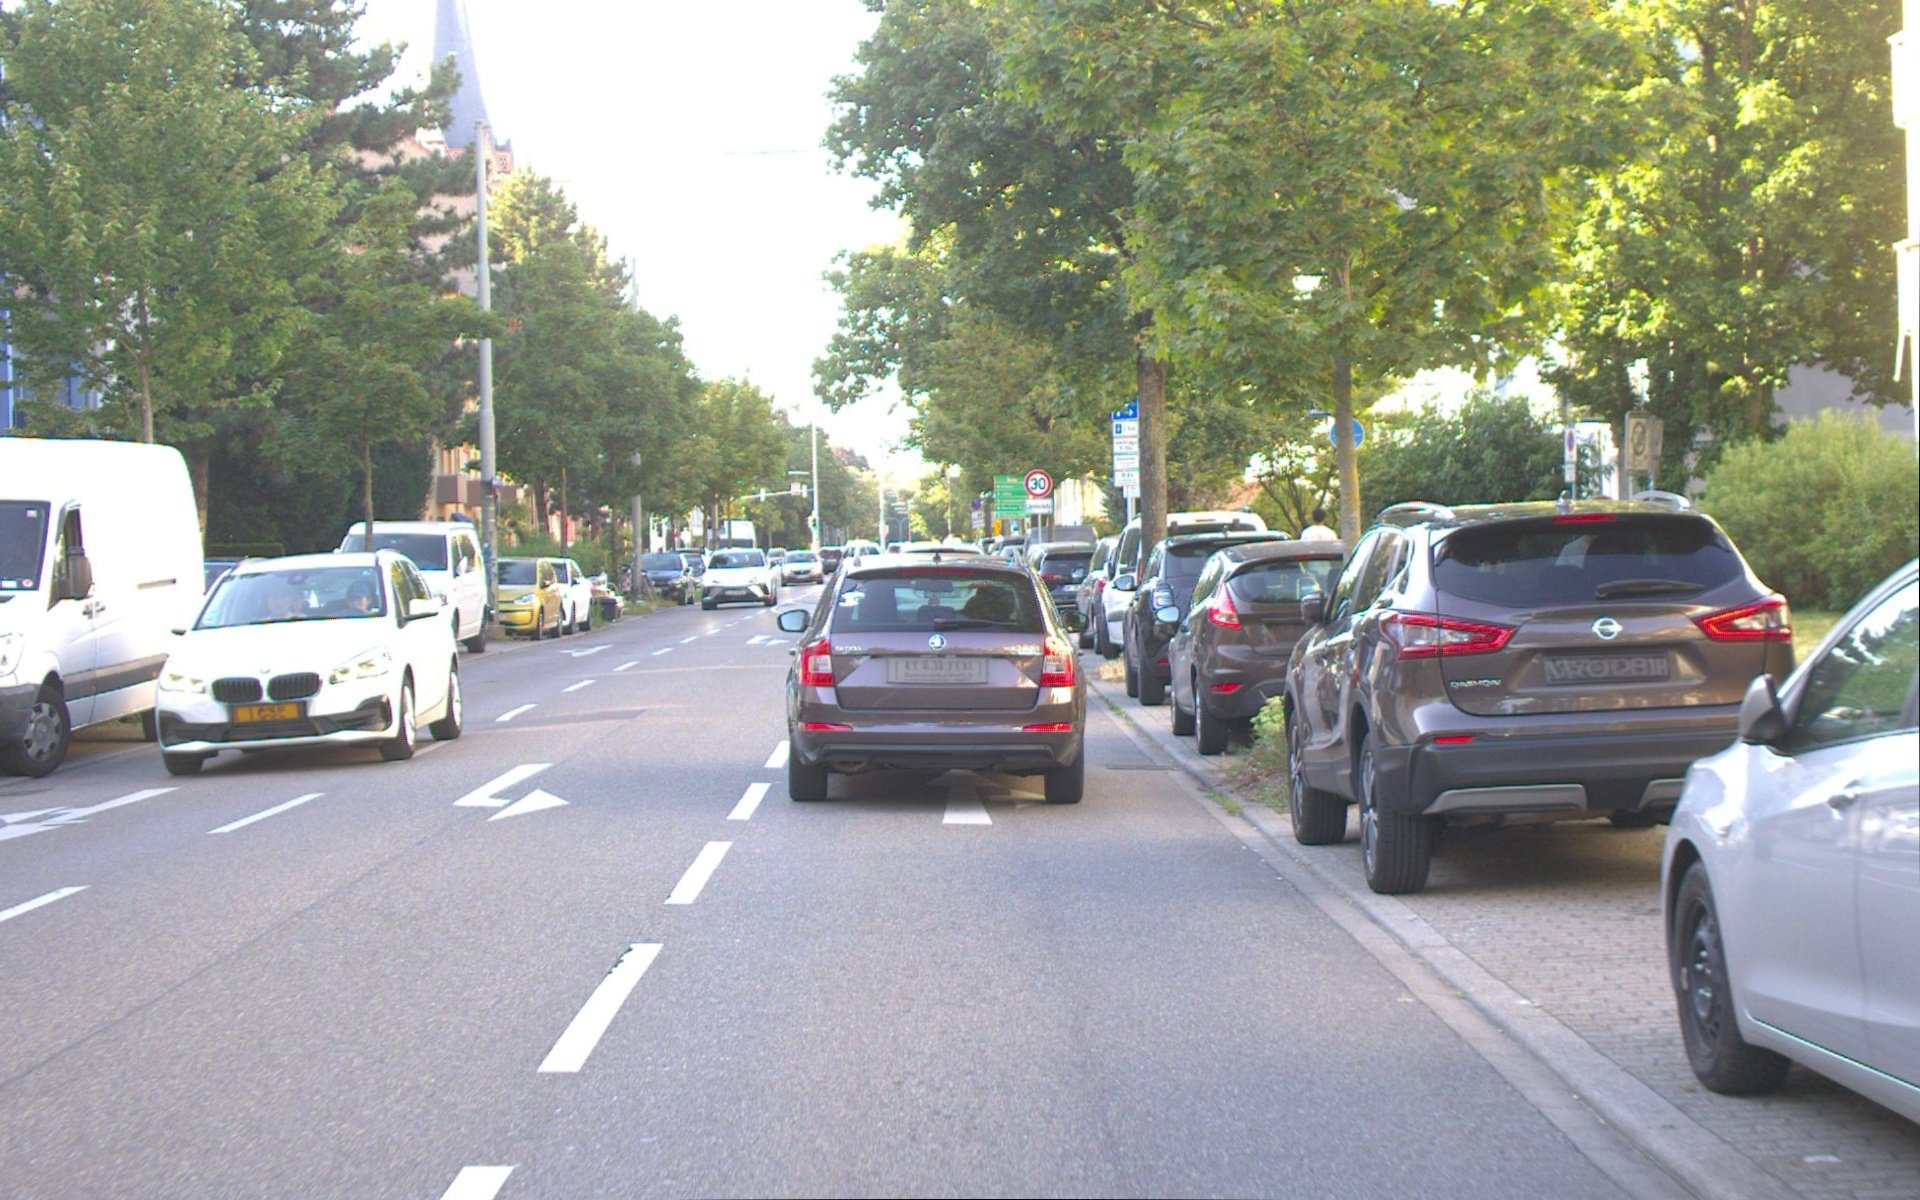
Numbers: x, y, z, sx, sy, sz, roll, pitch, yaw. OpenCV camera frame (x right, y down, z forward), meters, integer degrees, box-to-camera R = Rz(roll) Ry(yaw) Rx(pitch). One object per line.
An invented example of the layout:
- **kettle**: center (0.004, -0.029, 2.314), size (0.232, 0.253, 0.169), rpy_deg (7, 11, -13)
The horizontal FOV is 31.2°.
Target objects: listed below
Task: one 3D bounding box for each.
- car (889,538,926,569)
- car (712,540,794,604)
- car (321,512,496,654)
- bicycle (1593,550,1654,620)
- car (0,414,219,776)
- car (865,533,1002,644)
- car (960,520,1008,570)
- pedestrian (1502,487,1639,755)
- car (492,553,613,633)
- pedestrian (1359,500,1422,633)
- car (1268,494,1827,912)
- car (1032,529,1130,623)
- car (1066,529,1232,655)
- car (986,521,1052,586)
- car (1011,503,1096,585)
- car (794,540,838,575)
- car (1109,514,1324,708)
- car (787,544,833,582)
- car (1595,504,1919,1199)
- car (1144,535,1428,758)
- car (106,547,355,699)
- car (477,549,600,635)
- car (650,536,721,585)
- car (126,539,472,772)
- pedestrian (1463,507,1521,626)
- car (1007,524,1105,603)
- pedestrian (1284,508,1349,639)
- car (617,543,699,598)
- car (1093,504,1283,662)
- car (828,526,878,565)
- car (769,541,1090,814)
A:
- **car**: center (-2.791, -2.458, 181.768), size (1.644, 1.593, 3.651), rpy_deg (-1, 1, -6)
- **car**: center (-5.280, -0.728, 88.068), size (1.781, 1.489, 3.971), rpy_deg (-4, 1, 0)
- **car**: center (-8.185, -0.286, 51.473), size (1.868, 2.024, 5.301), rpy_deg (0, 1, -1)
- **bicycle**: center (9.298, -0.217, 48.219), size (0.475, 0.941, 1.680), rpy_deg (-1, 1, -1)
- **car**: center (-7.808, -0.099, 28.319), size (1.993, 2.607, 7.106), rpy_deg (0, 1, -1)
- **car**: center (-0.408, -0.164, 51.034), size (1.892, 1.501, 3.790), rpy_deg (3, 0, -1)
- **car**: center (0.873, -2.068, 129.238), size (1.754, 1.799, 4.000), rpy_deg (1, 1, 0)
- **pedestrian**: center (3.936, 0.129, 22.209), size (0.788, 1.694, 0.807), rpy_deg (0, 0, 4)
- **car**: center (-7.953, -0.160, 67.406), size (1.781, 1.489, 3.971), rpy_deg (1, 1, 2)
- **pedestrian**: center (6.127, -0.480, 48.885), size (0.799, 1.854, 0.950), rpy_deg (-1, 1, 11)
- **car**: center (2.470, 0.366, 15.418), size (1.718, 1.595, 4.096), rpy_deg (-1, 1, -1)
- **car**: center (2.248, -0.472, 64.570), size (1.754, 1.681, 4.252), rpy_deg (1, 1, 1)
- **car**: center (2.506, -0.140, 46.516), size (1.754, 1.551, 4.253), rpy_deg (-2, 1, -3)
- **car**: center (1.614, -1.261, 93.596), size (1.754, 1.709, 4.000), rpy_deg (1, 1, 1)
- **car**: center (2.178, -1.319, 81.072), size (1.916, 1.854, 5.633), rpy_deg (-1, 1, 1)
- **car**: center (-7.429, -2.212, 177.438), size (1.993, 1.744, 4.001), rpy_deg (-1, 1, -6)
- **car**: center (2.365, 0.063, 32.575), size (1.754, 1.657, 4.252), rpy_deg (-2, 1, 1)
- **car**: center (-6.384, -1.585, 146.393), size (1.739, 1.474, 4.310), rpy_deg (-4, 1, -1)
- **car**: center (2.764, 0.523, 7.754), size (1.718, 1.489, 4.394), rpy_deg (-1, 1, -2)
- **car**: center (2.321, 0.287, 25.335), size (1.613, 1.461, 3.959), rpy_deg (-2, 1, -1)
- **car**: center (-7.925, 0.206, 37.711), size (1.672, 1.537, 4.473), rpy_deg (-1, 1, 1)
- **car**: center (-7.548, -0.166, 61.907), size (1.619, 1.475, 3.871), rpy_deg (1, 1, 2)
- **car**: center (-8.562, -1.248, 107.429), size (1.781, 1.475, 3.971), rpy_deg (1, 1, 2)
- **car**: center (-4.959, 0.358, 26.356), size (1.879, 1.537, 4.267), rpy_deg (-3, 1, -2)
- **pedestrian**: center (7.809, -0.494, 50.464), size (0.799, 1.716, 0.744), rpy_deg (-1, 1, 8)
- **car**: center (1.949, -0.742, 70.891), size (1.754, 1.551, 4.105), rpy_deg (1, 0, -2)
- **pedestrian**: center (5.137, -0.391, 49.595), size (0.749, 1.854, 1.068), rpy_deg (-2, 1, -1)
- **car**: center (-8.307, -0.831, 94.914), size (1.781, 1.475, 4.033), rpy_deg (1, 1, 2)
- **car**: center (2.710, -0.233, 41.757), size (1.800, 1.802, 4.424), rpy_deg (1, 1, -3)
- **car**: center (-4.091, -2.083, 131.256), size (1.780, 1.475, 3.971), rpy_deg (1, 1, -4)
- **car**: center (-0.130, 0.398, 21.000), size (1.754, 1.487, 4.000), rpy_deg (1, 1, 1)
